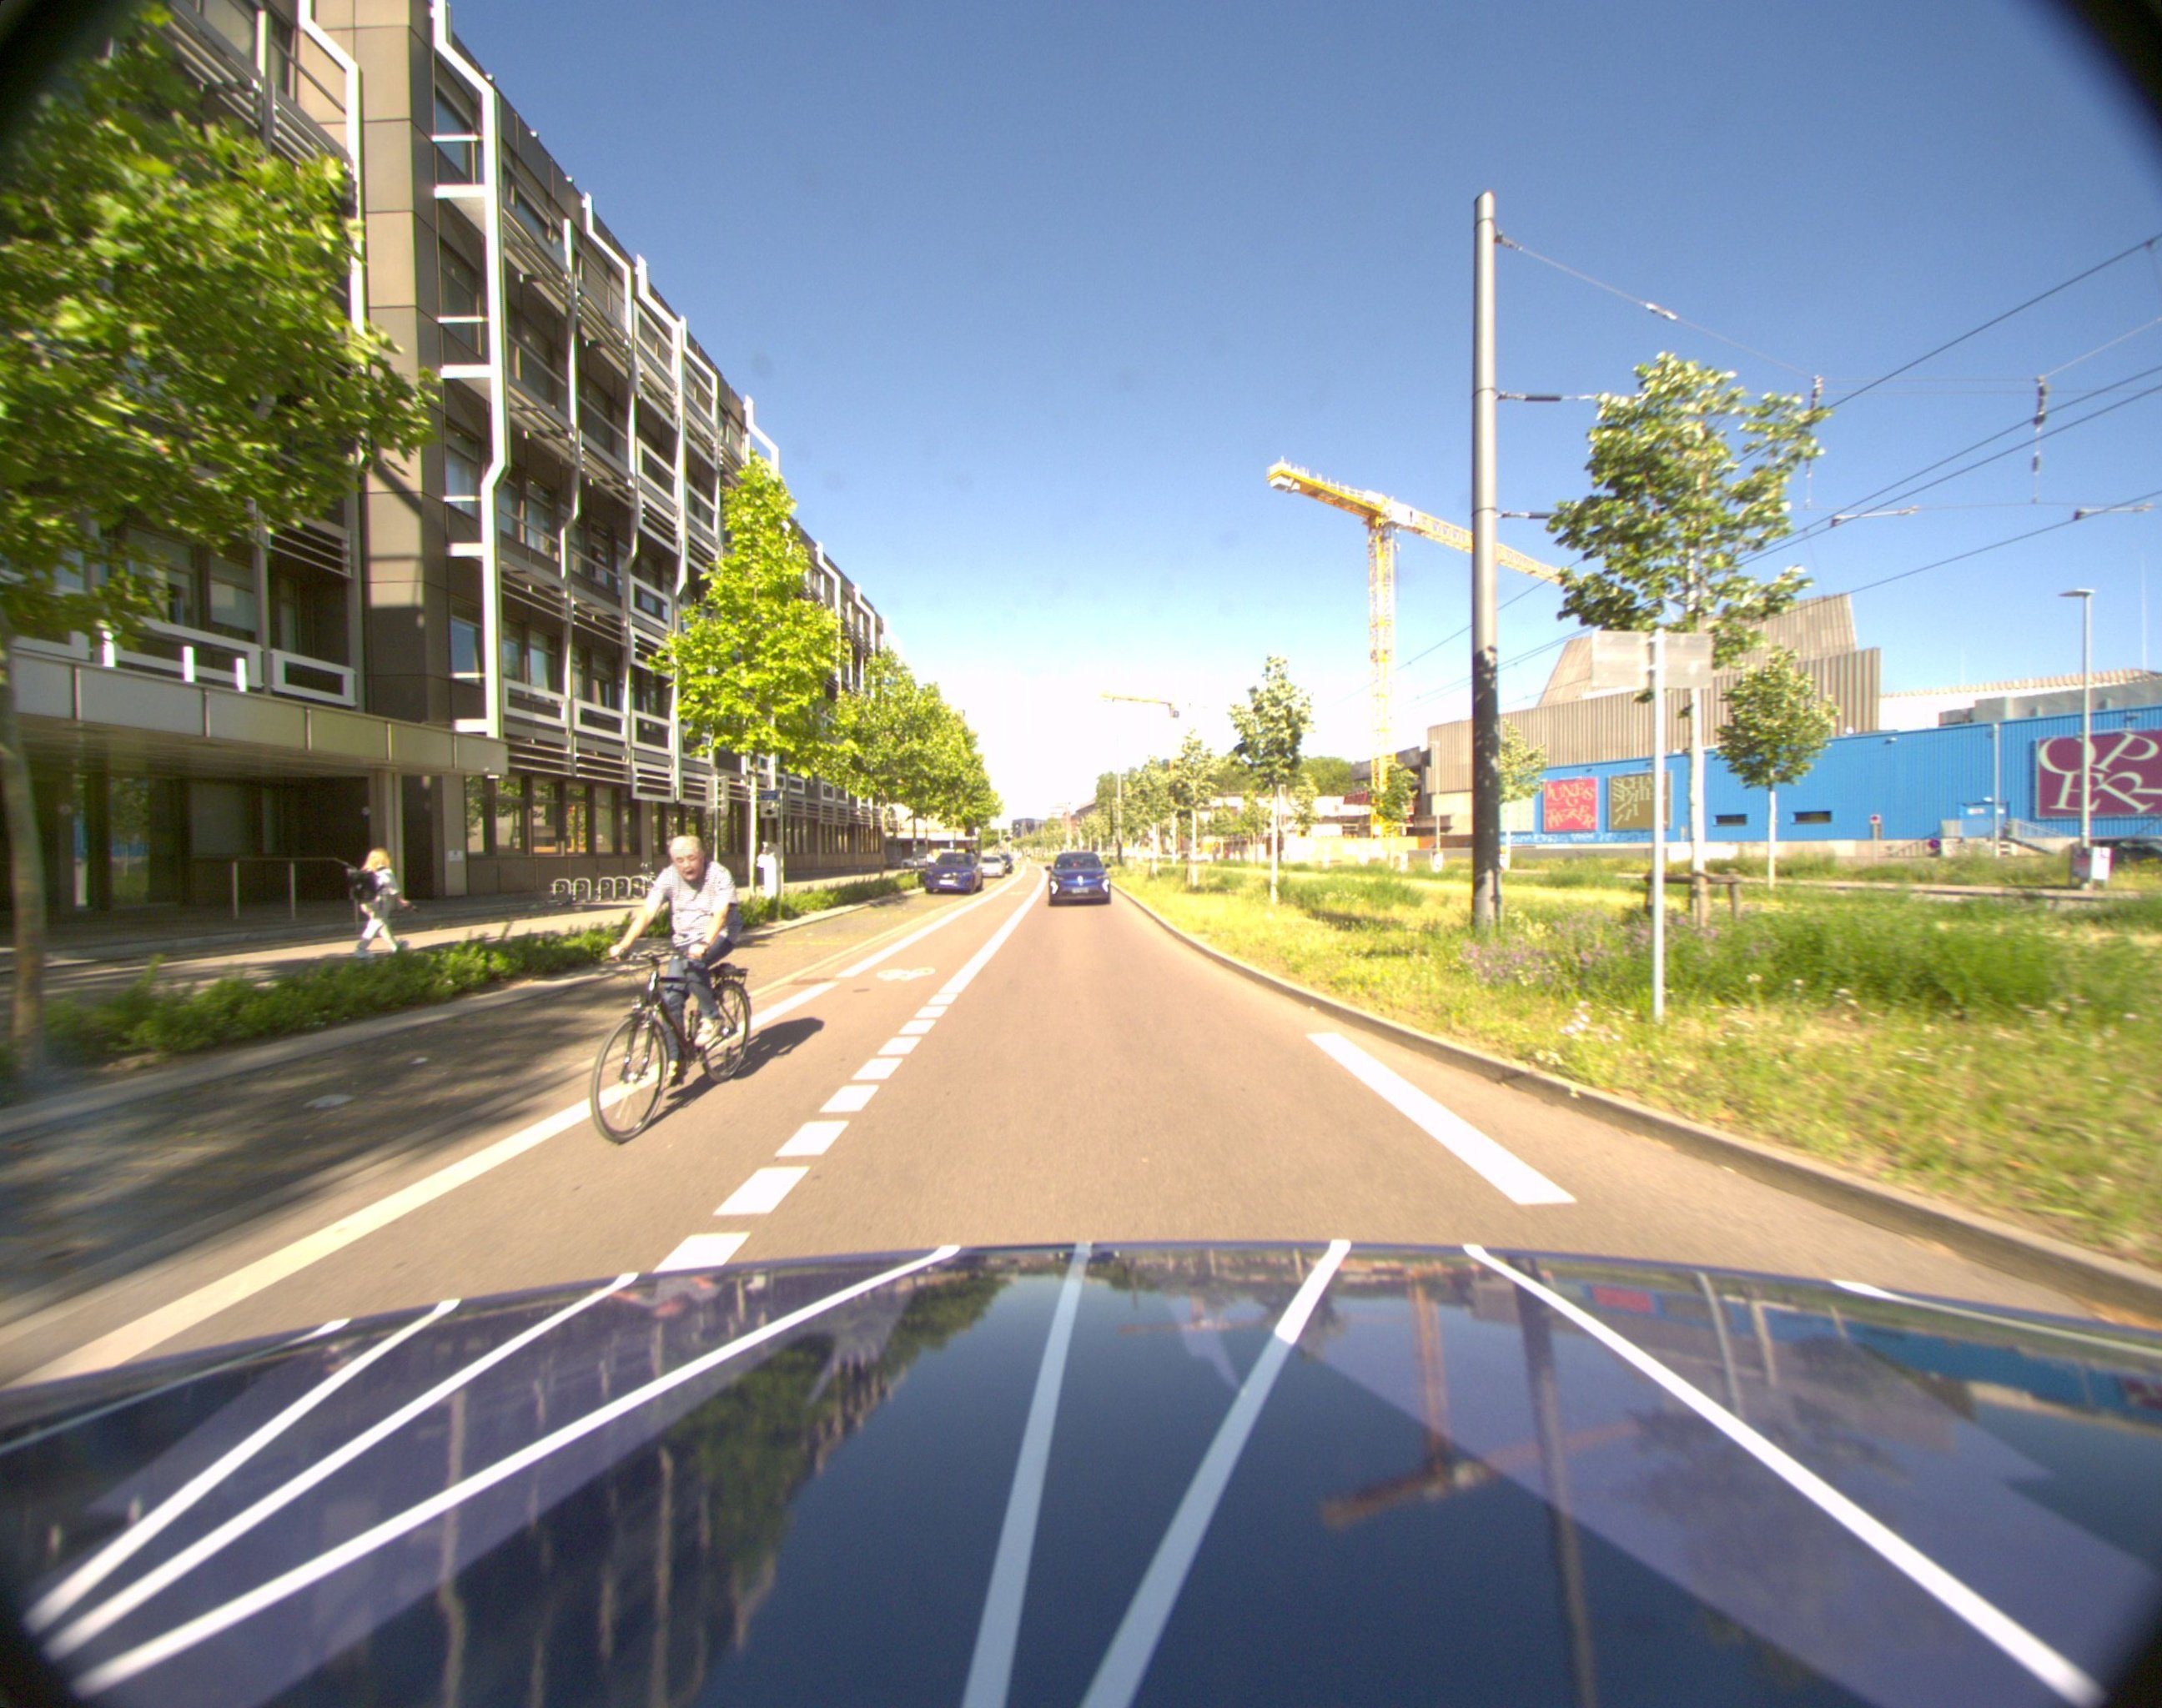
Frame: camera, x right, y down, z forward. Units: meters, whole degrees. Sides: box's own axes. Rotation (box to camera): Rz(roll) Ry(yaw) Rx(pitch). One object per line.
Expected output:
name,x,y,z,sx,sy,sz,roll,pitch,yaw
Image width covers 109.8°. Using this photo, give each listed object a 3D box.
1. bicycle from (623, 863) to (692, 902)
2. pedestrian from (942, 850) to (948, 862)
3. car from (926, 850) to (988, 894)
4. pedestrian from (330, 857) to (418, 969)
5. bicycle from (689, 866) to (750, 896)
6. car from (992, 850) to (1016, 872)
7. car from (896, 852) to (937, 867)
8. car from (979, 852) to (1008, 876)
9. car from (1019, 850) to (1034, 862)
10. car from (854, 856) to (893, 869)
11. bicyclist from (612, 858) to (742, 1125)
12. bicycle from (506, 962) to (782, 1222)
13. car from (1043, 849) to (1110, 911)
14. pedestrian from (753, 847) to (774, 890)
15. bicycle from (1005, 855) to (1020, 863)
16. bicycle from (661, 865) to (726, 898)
bicycle,-12.635,0.841,22.683,1.862,1.091,0.427,1,1,3
pedestrian,-15.736,0.227,87.766,0.683,1.442,0.542,-1,1,-12
car,-5.060,0.679,31.554,1.854,1.647,4.847,1,0,-1
pedestrian,-9.679,0.784,10.427,0.512,1.466,0.736,1,1,1
bicycle,-12.131,0.891,25.524,1.862,0.933,0.427,1,1,3
car,-6.225,0.551,61.783,1.753,1.649,4.467,-1,1,-4
car,-18.840,0.612,86.971,4.410,1.535,1.851,-1,1,-14
car,-5.671,0.623,49.745,1.622,1.456,4.153,1,0,-3
car,-8.515,0.284,119.113,1.822,1.784,3.999,-3,1,2
car,-23.494,0.951,86.060,4.194,1.386,1.556,-1,0,-15
bicyclist,-2.543,0.826,4.831,0.514,1.592,0.536,-1,1,-3
bicycle,-2.531,1.302,4.752,0.499,0.900,2.196,-3,0,-3
car,-0.116,0.713,23.286,1.749,1.613,4.152,-4,0,0
pedestrian,-12.291,0.556,29.430,0.512,1.613,0.674,2,1,1
bicycle,-9.759,0.752,107.896,2.056,1.113,0.602,1,1,-7
bicycle,-12.357,0.875,24.222,1.862,1.005,0.427,1,1,3
